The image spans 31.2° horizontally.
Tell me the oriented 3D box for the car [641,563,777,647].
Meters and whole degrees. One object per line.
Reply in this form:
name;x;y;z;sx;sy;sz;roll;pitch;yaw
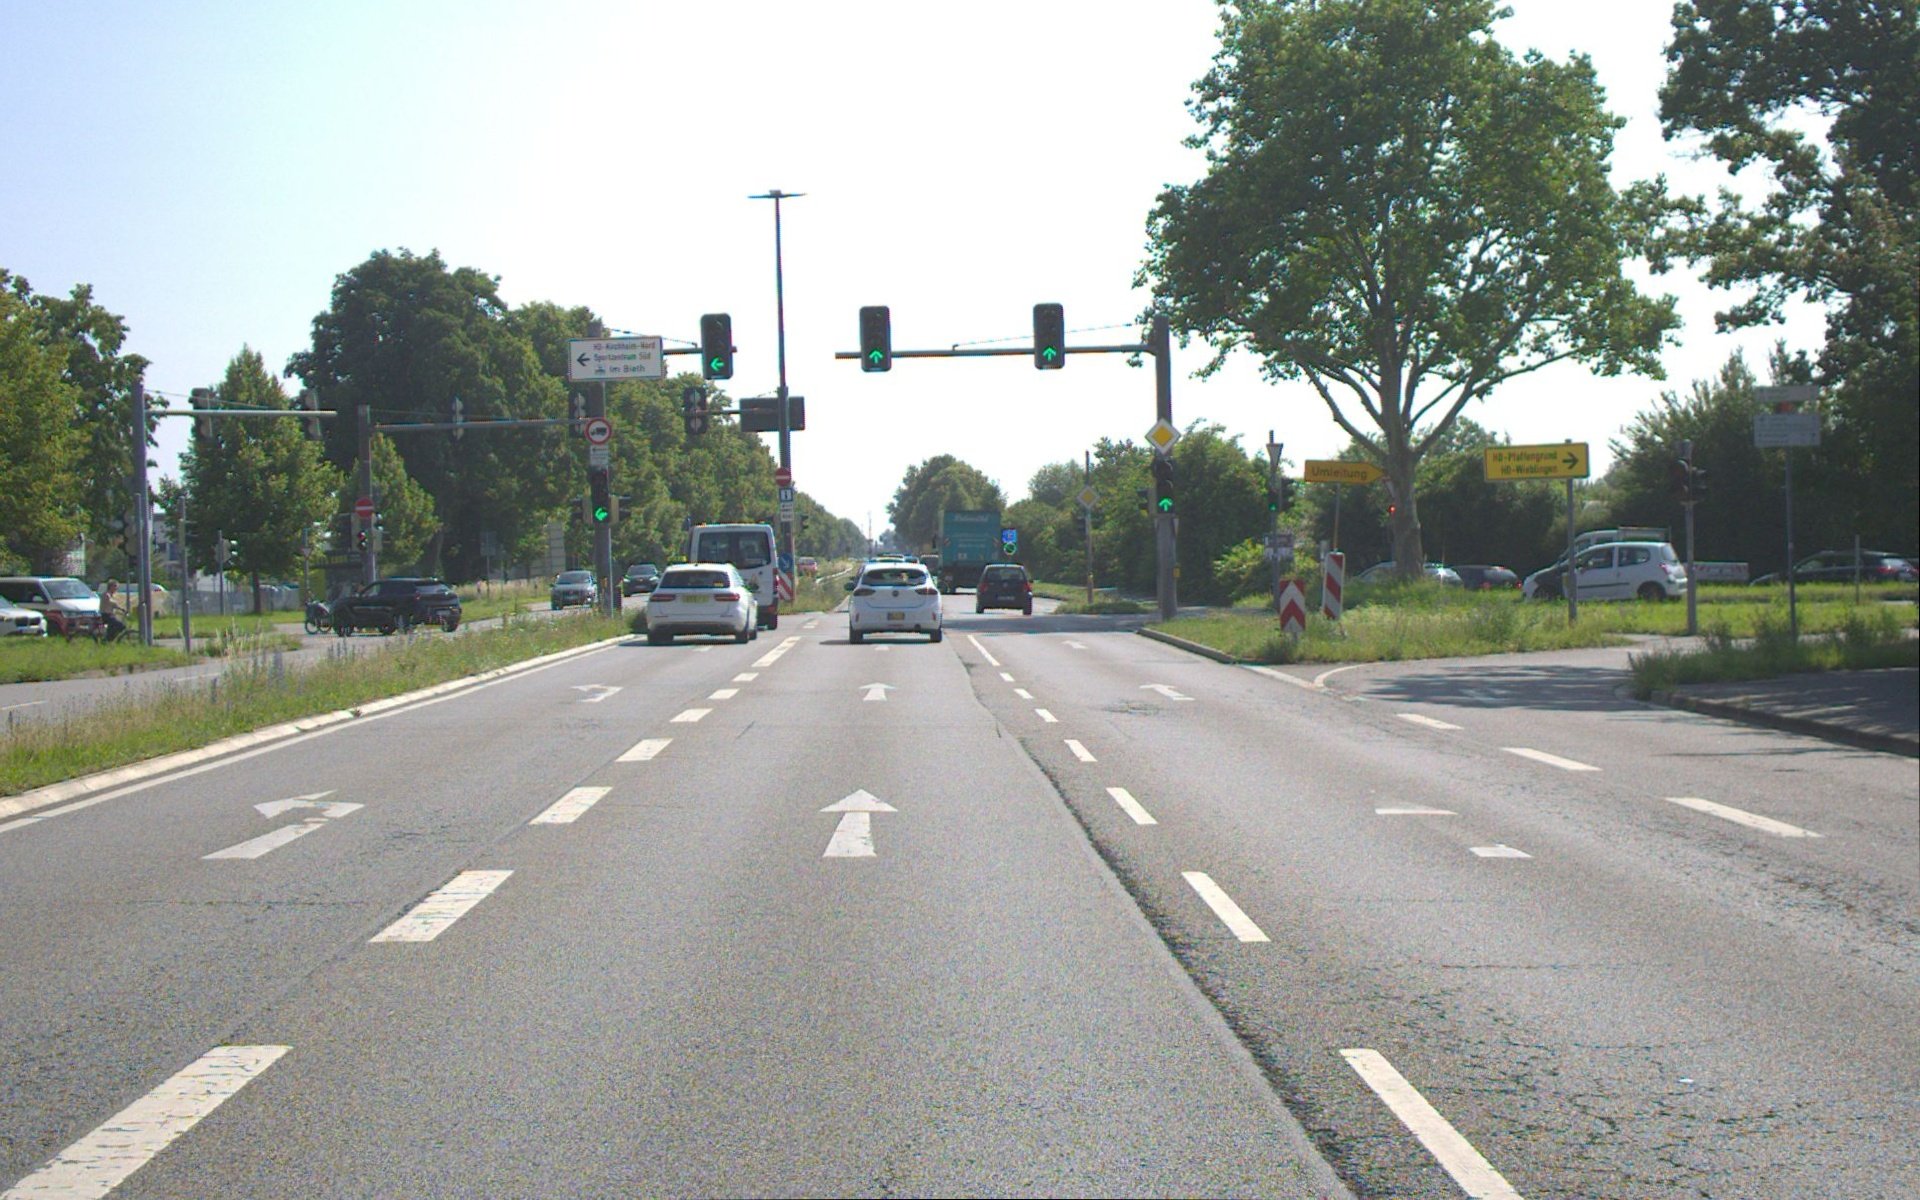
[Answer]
car;-4.635;0.066;64.212;1.812;1.459;4.970;-1;0;4

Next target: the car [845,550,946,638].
car;-1.170;-0.130;63.799;1.798;1.547;4.000;0;1;0

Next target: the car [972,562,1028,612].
car;1.156;-0.374;100.835;1.572;1.410;3.277;-1;0;-1

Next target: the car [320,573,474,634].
car;-15.404;0.088;93.986;3.995;1.643;1.910;0;0;37

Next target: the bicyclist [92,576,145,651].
bicyclist;-17.278;0.271;70.630;0.847;1.512;0.747;-1;1;5

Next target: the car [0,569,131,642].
car;-25.879;0.182;97.402;4.649;1.943;1.996;-1;1;34

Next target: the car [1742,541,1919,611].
car;21.424;-0.569;83.549;1.881;1.629;4.467;1;0;-39

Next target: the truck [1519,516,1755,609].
truck;18.143;-0.962;92.516;2.338;2.378;6.474;1;-1;-34

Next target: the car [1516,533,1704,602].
car;14.402;-0.720;76.179;3.748;1.464;1.783;-1;0;25

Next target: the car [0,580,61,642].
car;-26.788;0.342;93.802;4.262;1.600;2.001;-2;1;35

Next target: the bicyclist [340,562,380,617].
bicyclist;-17.598;-0.315;100.900;0.863;1.613;0.757;0;0;27

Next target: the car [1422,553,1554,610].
car;14.920;-0.509;97.293;1.616;1.542;3.825;1;-1;-31

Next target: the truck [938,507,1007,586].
truck;0.523;-2.452;157.257;2.891;3.417;9.169;-2;1;-1

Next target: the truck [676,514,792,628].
truck;-5.003;-0.684;76.956;2.373;2.381;6.041;-2;1;-2

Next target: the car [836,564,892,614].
car;-2.854;-0.348;102.640;1.572;1.409;3.278;-2;1;-1

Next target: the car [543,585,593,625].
car;-15.102;0.187;132.548;1.485;1.409;3.762;-4;1;-1

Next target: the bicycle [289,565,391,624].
bicycle;-18.263;-0.172;101.263;2.796;1.664;1.134;-1;1;27
